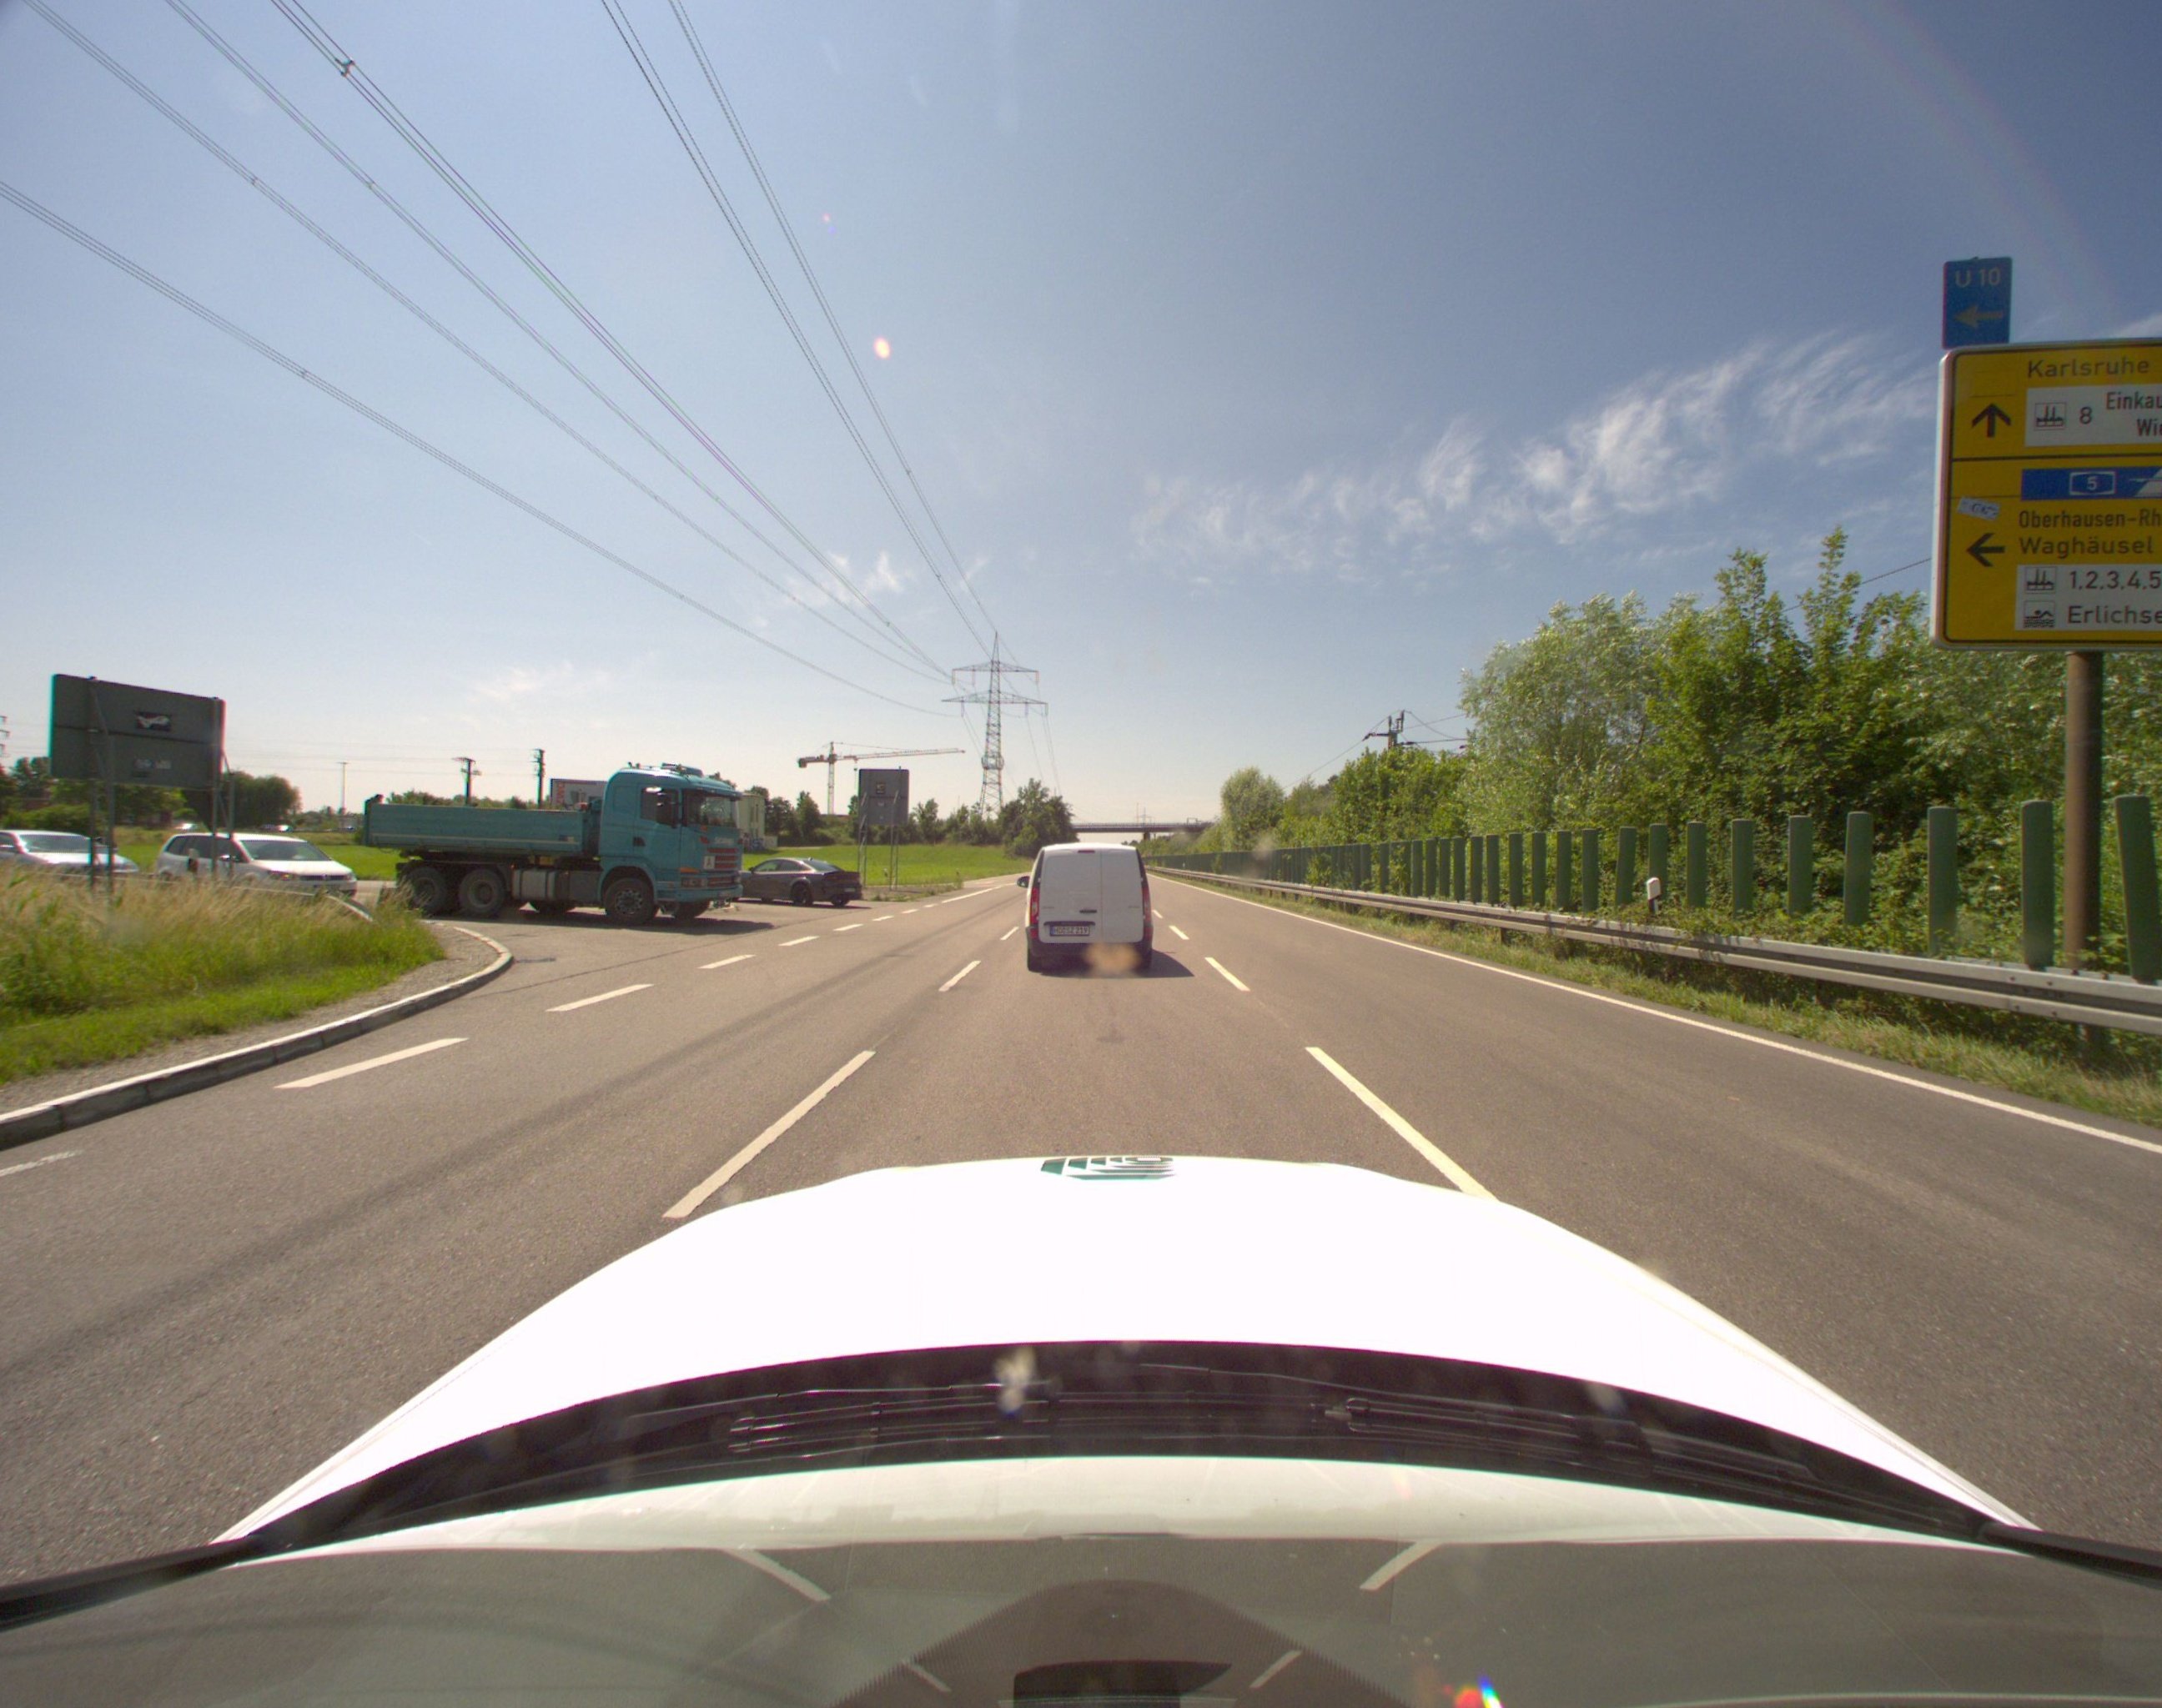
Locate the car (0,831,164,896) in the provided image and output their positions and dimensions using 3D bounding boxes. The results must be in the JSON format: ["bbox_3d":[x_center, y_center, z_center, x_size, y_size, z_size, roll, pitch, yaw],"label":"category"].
[{"bbox_3d":[-25.284,0.198,19.963,4.402,1.470,1.724,1,0,12],"label":"car"}]

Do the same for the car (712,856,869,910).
[{"bbox_3d":[-9.205,0.863,25.789,4.597,1.396,1.872,2,1,23],"label":"car"}]

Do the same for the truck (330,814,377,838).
[{"bbox_3d":[-158.090,-6.064,177.081,3.695,4.646,13.134,1,0,-24],"label":"truck"}]

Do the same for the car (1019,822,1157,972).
[{"bbox_3d":[-0.002,0.579,12.792,1.823,1.971,3.995,0,0,-3],"label":"car"}]

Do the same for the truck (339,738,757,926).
[{"bbox_3d":[-11.908,-0.487,18.613,7.870,3.734,2.500,2,-1,3],"label":"truck"}]

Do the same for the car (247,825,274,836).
[{"bbox_3d":[-139.619,-4.035,138.595,2.005,1.679,3.964,1,0,-28],"label":"car"}]

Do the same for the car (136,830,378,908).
[{"bbox_3d":[-19.181,0.316,19.010,4.507,1.612,1.976,1,0,15],"label":"car"}]
